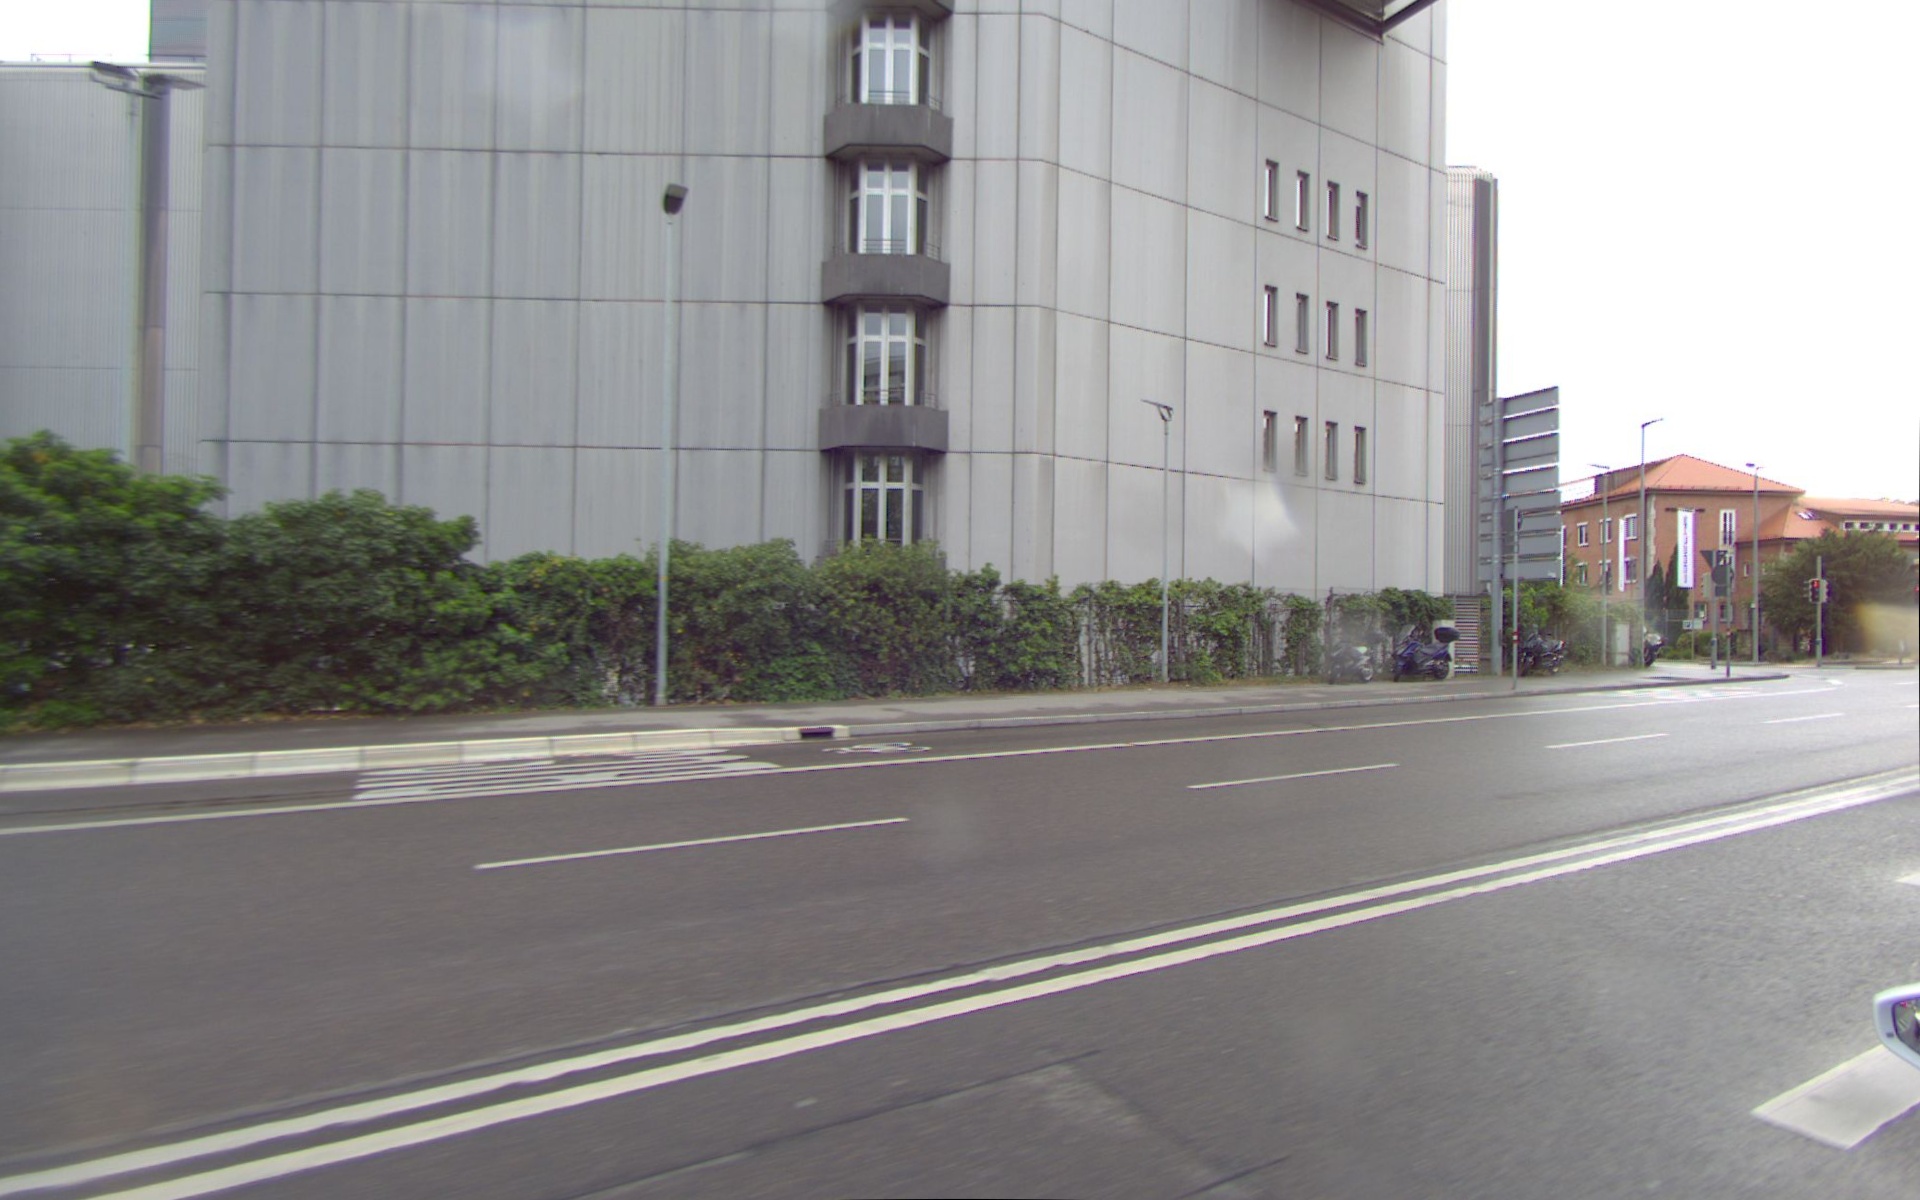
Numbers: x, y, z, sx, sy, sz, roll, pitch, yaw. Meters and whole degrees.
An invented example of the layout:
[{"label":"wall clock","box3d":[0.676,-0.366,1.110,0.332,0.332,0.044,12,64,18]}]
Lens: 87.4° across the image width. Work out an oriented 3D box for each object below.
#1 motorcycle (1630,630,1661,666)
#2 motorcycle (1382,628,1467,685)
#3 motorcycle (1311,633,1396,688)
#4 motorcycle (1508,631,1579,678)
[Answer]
[{"label":"motorcycle","box3d":[24.744,1.708,36.293,0.759,1.234,2.504,0,-1,31]},{"label":"motorcycle","box3d":[11.706,1.393,25.293,2.342,1.365,0.781,1,-1,-31]},{"label":"motorcycle","box3d":[9.476,1.425,24.162,2.132,1.267,0.781,1,-1,-31]},{"label":"motorcycle","box3d":[16.347,1.507,28.138,2.132,1.263,0.781,1,-1,-31]}]
